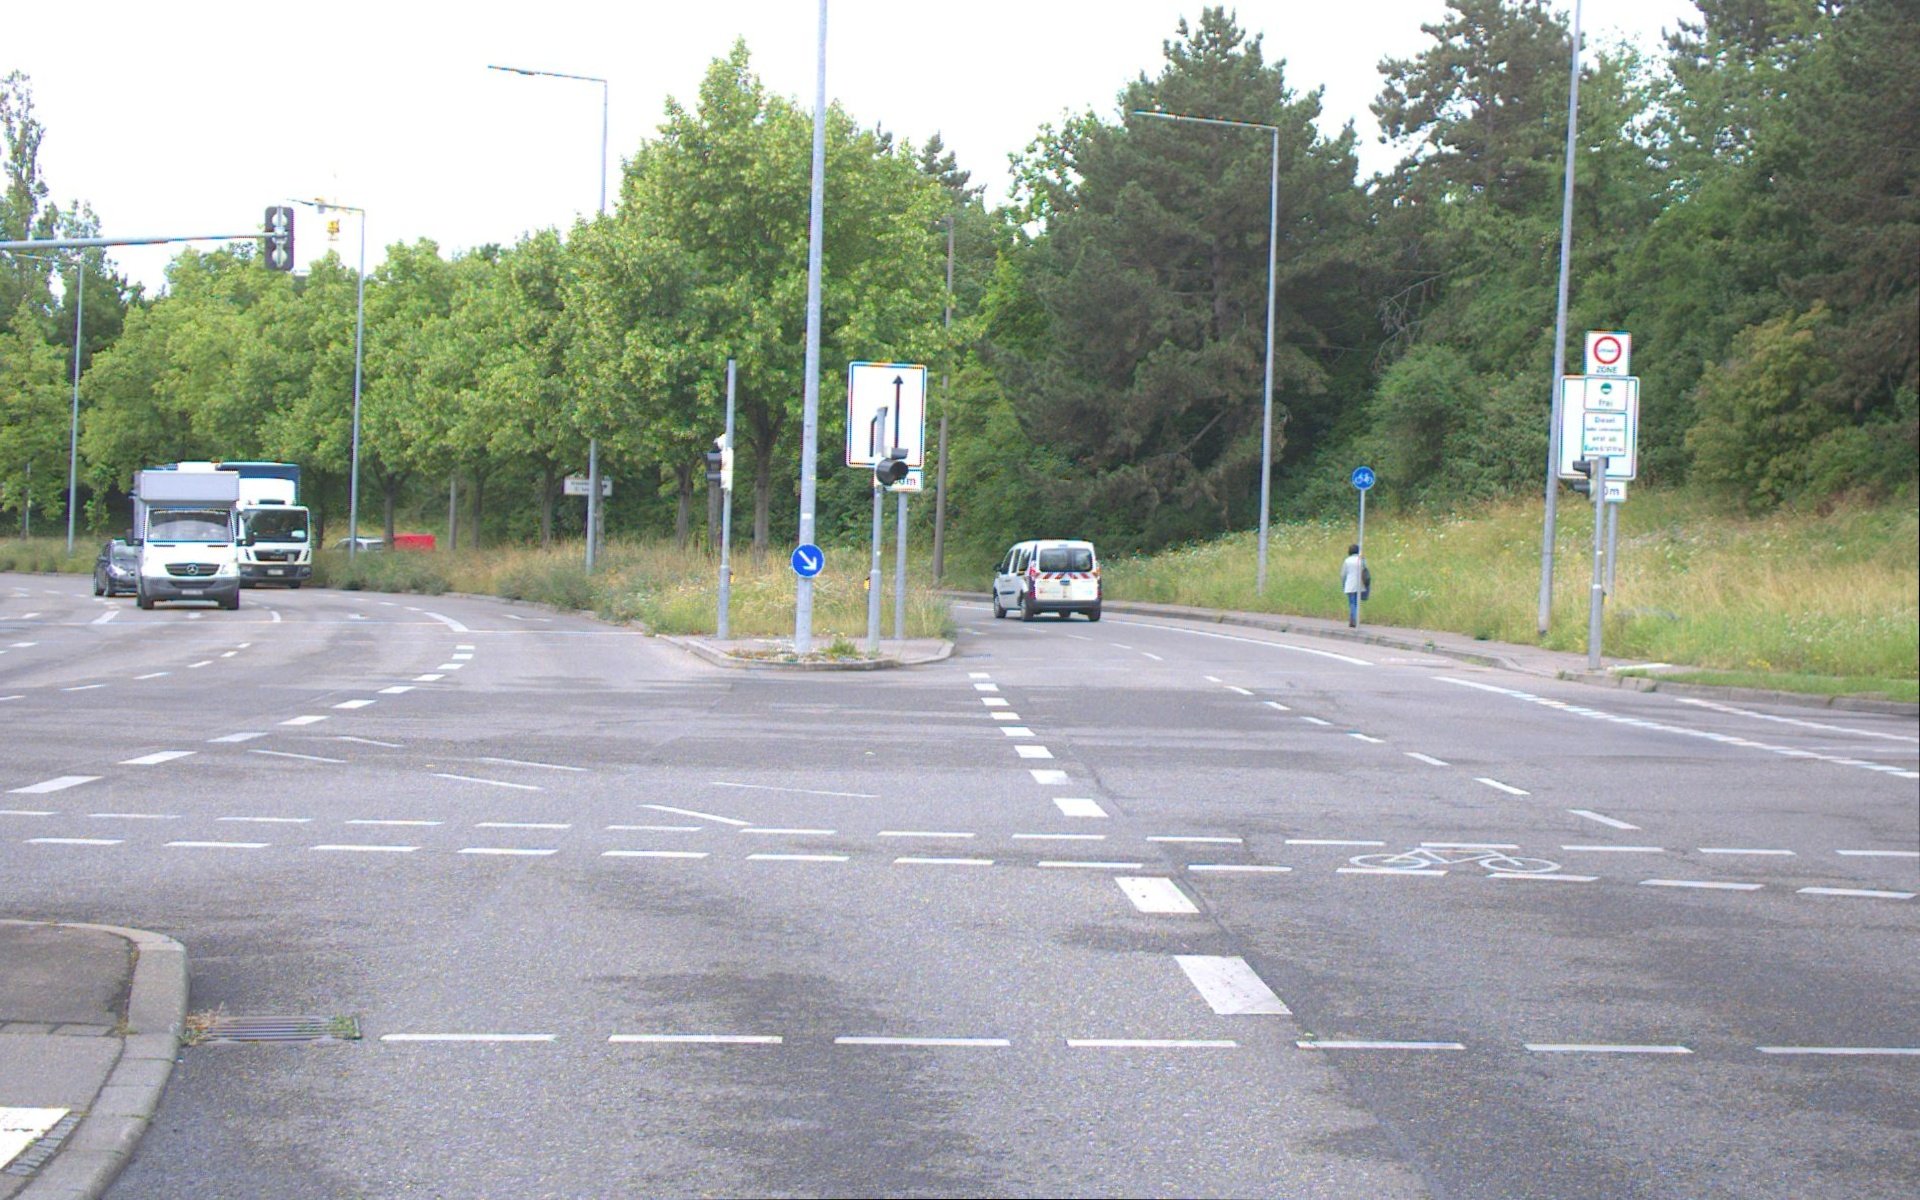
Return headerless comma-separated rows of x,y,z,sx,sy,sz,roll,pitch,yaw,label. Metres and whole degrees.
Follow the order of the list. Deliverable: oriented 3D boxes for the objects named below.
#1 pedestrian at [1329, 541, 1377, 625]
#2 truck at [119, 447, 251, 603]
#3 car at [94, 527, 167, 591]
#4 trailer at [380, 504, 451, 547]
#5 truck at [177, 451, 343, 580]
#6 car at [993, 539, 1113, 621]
7.679,-0.344,67.219,0.814,1.622,0.791,1,1,-1,pedestrian
-16.326,-1.544,72.206,2.115,3.124,5.902,1,1,-18,truck
-21.455,-1.086,88.865,1.780,1.441,4.530,-1,3,-14,car
-20.625,-2.824,130.127,1.764,1.610,3.044,0,1,-28,trailer
-21.985,-2.583,107.331,3.048,3.747,12.817,1,1,-21,truck
2.070,-0.468,78.005,1.994,1.796,4.840,0,0,-7,car
